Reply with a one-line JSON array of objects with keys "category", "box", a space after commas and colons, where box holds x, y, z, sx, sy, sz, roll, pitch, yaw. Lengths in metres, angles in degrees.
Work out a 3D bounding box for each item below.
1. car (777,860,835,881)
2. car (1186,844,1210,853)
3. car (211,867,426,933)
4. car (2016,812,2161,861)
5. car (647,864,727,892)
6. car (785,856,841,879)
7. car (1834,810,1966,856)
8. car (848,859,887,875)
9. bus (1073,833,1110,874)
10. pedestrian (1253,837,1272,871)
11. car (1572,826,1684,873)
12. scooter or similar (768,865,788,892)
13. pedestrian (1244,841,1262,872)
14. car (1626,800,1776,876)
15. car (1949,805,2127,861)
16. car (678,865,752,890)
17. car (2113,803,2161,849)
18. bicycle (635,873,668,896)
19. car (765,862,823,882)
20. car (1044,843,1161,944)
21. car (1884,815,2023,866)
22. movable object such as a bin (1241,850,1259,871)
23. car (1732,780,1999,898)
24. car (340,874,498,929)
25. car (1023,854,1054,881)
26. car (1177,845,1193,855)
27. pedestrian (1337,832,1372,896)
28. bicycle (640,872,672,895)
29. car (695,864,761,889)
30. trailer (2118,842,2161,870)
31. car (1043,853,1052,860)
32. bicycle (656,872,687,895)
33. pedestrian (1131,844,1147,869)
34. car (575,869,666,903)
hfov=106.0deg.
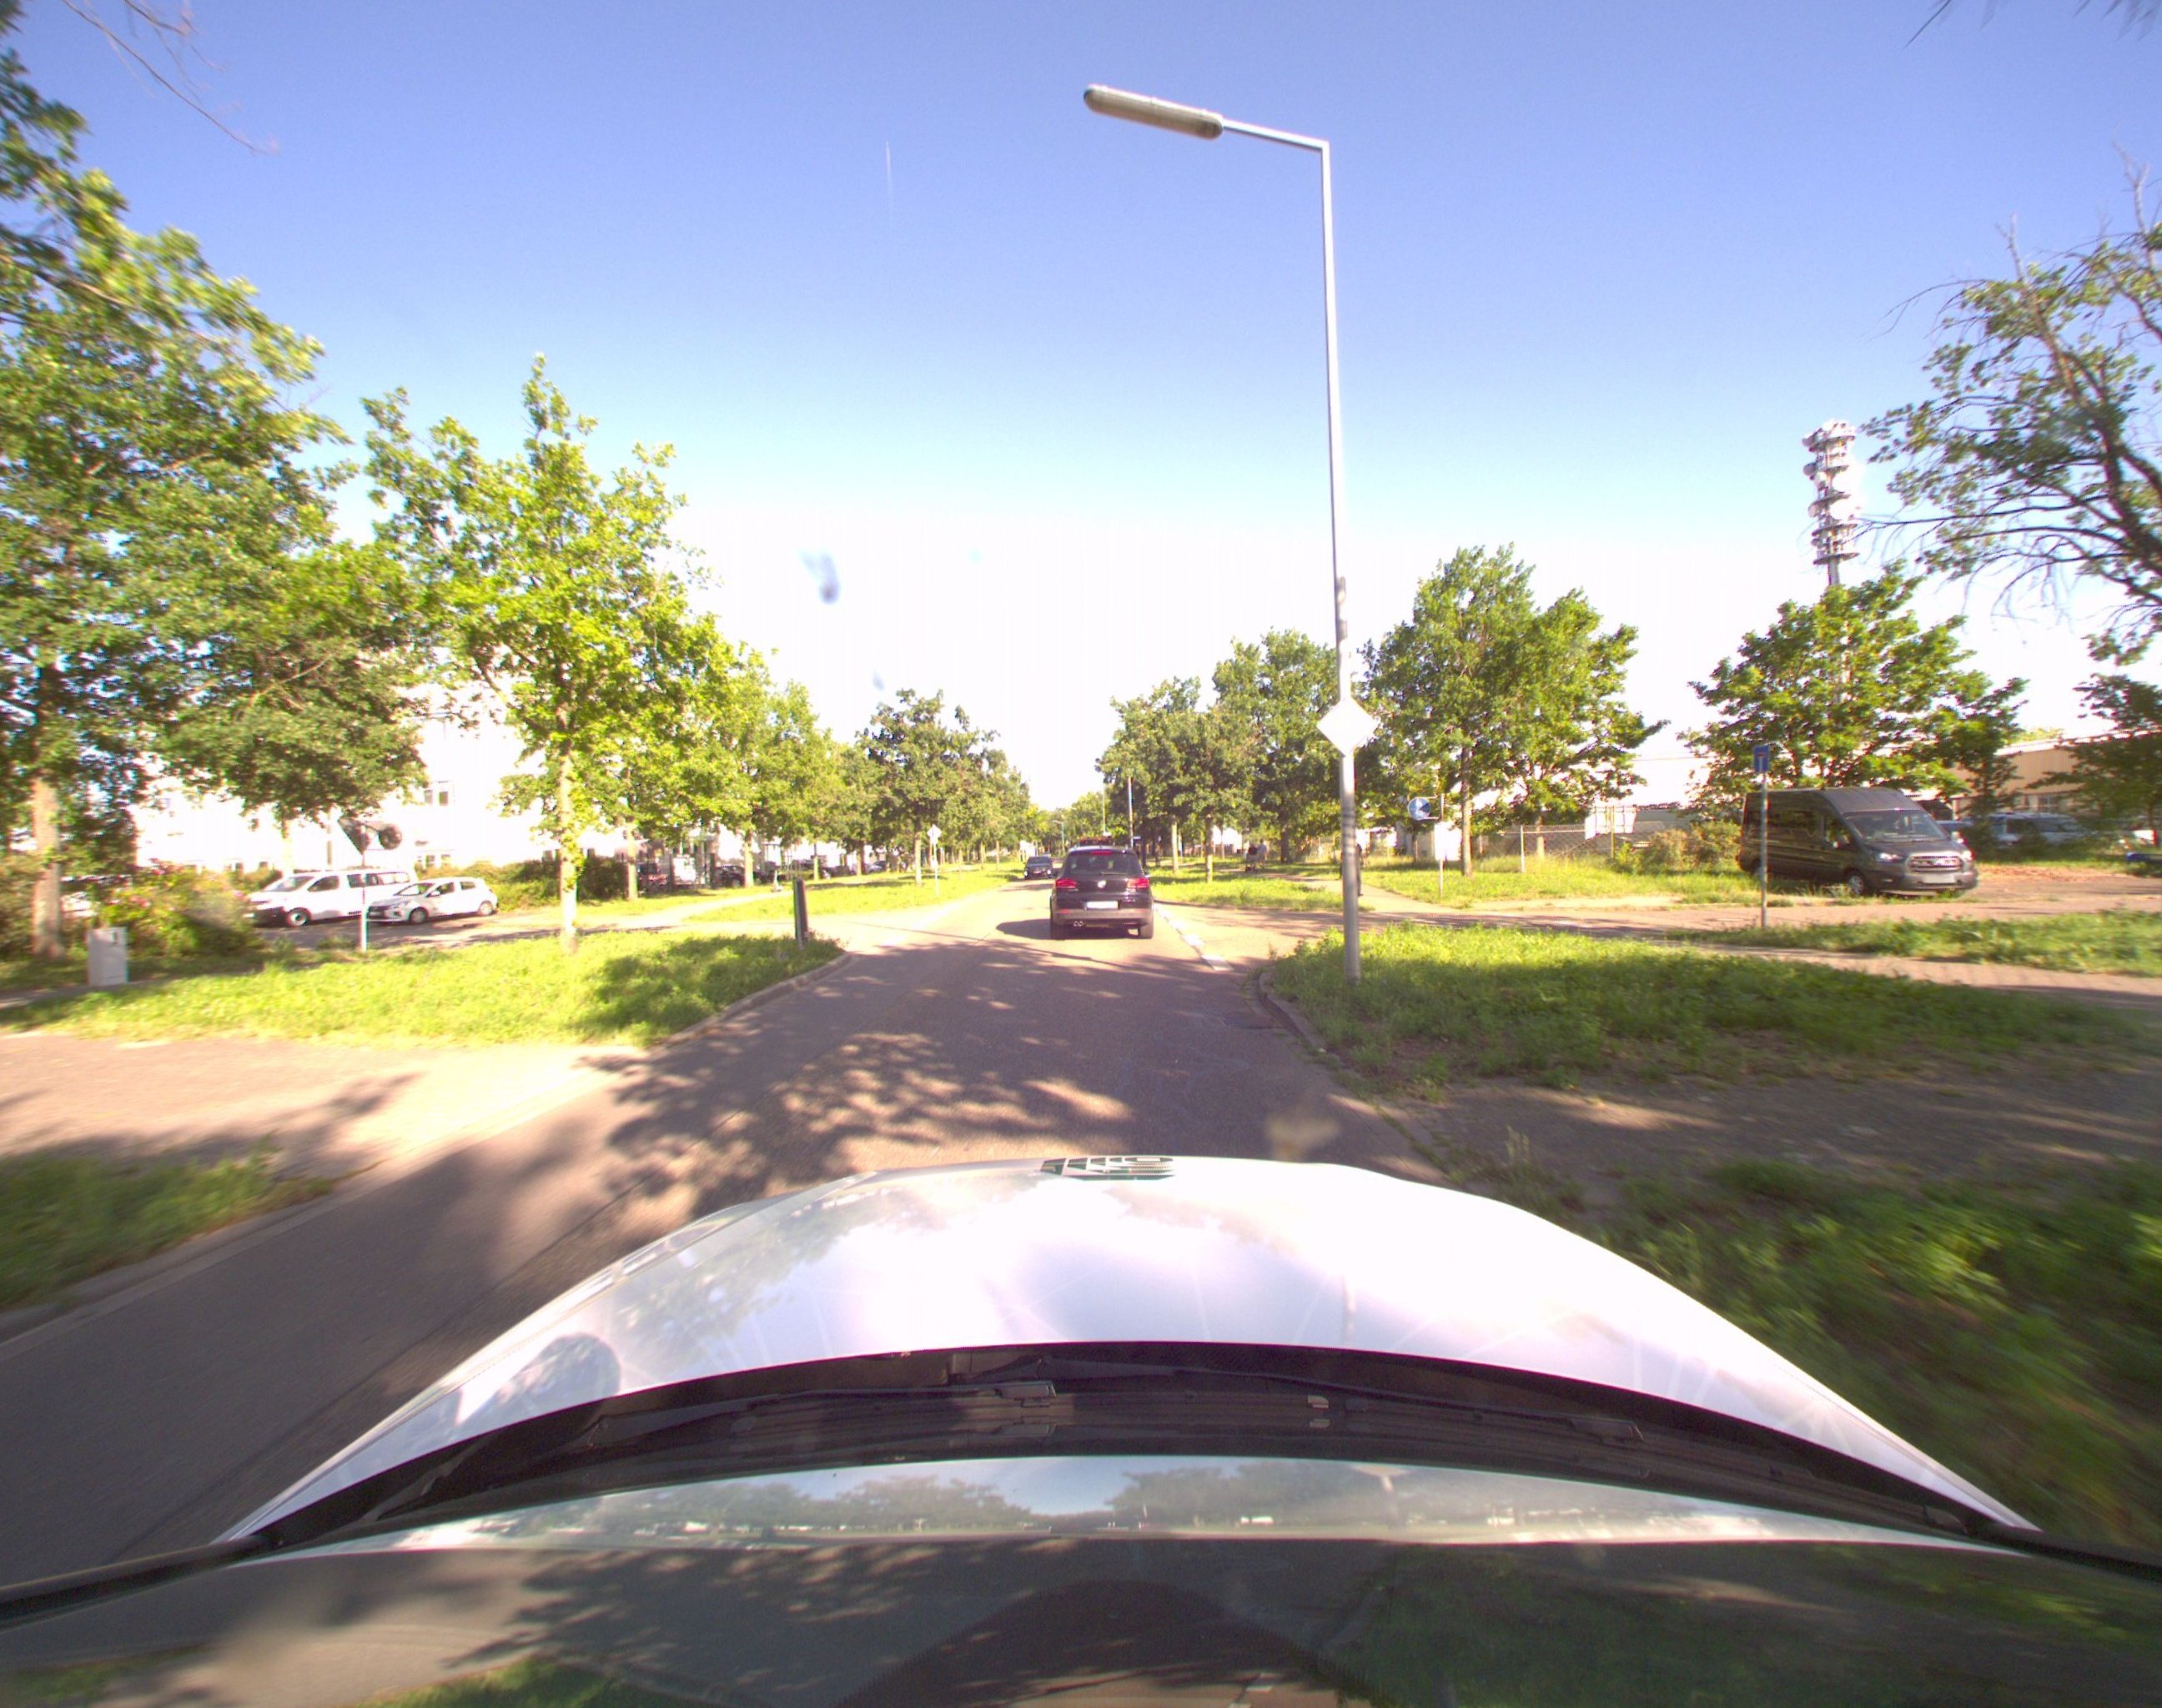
[{"category": "car", "box": [-23.291, 1.386, 69.011, 4.193, 1.538, 1.874, -2, 0, -42]}, {"category": "car", "box": [24.686, -1.172, 172.119, 4.624, 1.744, 2.185, -2, 0, -9]}, {"category": "car", "box": [-28.308, 1.633, 30.579, 2.285, 1.816, 5.461, -2, 2, 12]}, {"category": "car", "box": [36.473, -0.616, 29.008, 1.982, 1.592, 4.009, -2, 0, 8]}, {"category": "car", "box": [-24.115, 1.449, 49.937, 1.778, 1.448, 4.025, -2, 0, 43]}, {"category": "car", "box": [-26.429, 1.336, 80.428, 4.885, 2.013, 1.976, -2, 0, -42]}, {"category": "car", "box": [39.156, -1.069, 39.158, 2.070, 2.061, 5.032, 0, 3, 12]}, {"category": "car", "box": [-23.997, 1.470, 91.601, 3.715, 1.618, 1.971, -2, 0, 15]}, {"category": "bus", "box": [0.852, -0.111, 76.188, 2.758, 3.456, 11.199, -2, 0, -3]}, {"category": "pedestrian", "box": [9.849, -0.002, 44.166, 0.723, 1.755, 0.867, -4, 0, 0]}, {"category": "car", "box": [21.451, -0.187, 32.112, 1.999, 1.664, 3.597, -2, 0, 1]}, {"category": "scooter or similar", "box": [-15.044, 1.196, 40.430, 0.393, 1.279, 1.441, -2, 0, 1]}, {"category": "pedestrian", "box": [9.161, 0.131, 43.287, 0.723, 1.603, 0.867, -2, 0, 0]}, {"category": "car", "box": [24.024, -0.594, 31.842, 2.153, 2.643, 4.851, -2, 0, 1]}, {"category": "car", "box": [34.239, -0.718, 29.331, 1.982, 1.823, 4.009, -2, 0, 8]}, {"category": "car", "box": [-24.056, 1.545, 53.581, 4.022, 1.448, 1.779, -2, 0, -43]}, {"category": "car", "box": [38.644, -1.020, 27.815, 1.982, 1.592, 4.009, -2, 0, 8]}, {"category": "bicycle", "box": [-21.702, 1.530, 41.166, 0.637, 1.087, 1.891, -2, 0, 0]}, {"category": "car", "box": [-23.155, 1.430, 65.806, 3.975, 1.401, 1.976, -2, 0, -42]}, {"category": "car", "box": [0.366, 0.630, 15.726, 1.930, 1.656, 4.427, -1, 0, 0]}, {"category": "car", "box": [31.300, -0.470, 29.382, 1.819, 1.640, 4.021, -2, 0, 21]}, {"category": "movable object such as a bin", "box": [9.151, 0.344, 44.162, 0.723, 1.081, 0.867, -4, 0, 0]}, {"category": "car", "box": [19.619, -0.478, 20.910, 2.070, 2.565, 5.994, 0, 3, 12]}, {"category": "car", "box": [-23.486, 1.651, 29.103, 1.980, 1.504, 3.931, -2, 2, 12]}, {"category": "car", "box": [-2.731, 0.848, 53.561, 1.799, 1.536, 4.493, -3, 0, -1]}, {"category": "car", "box": [20.219, -0.815, 158.402, 2.181, 1.744, 4.634, -2, 0, -5]}, {"category": "pedestrian", "box": [8.007, 0.278, 23.867, 0.723, 1.812, 0.867, -2, 2, 0]}, {"category": "bicycle", "box": [-22.372, 1.553, 42.875, 0.637, 1.087, 1.891, -2, 0, 0]}, {"category": "car", "box": [-24.499, 1.555, 56.510, 4.011, 1.511, 1.784, -2, 1, -29]}, {"category": "trailer", "box": [29.221, 0.115, 19.926, 2.213, 0.651, 4.840, -2, 2, 13]}, {"category": "car", "box": [-6.793, 0.486, 165.430, 1.739, 1.465, 4.425, -3, 0, -1]}, {"category": "bicycle", "box": [-21.382, 1.523, 42.575, 0.637, 1.087, 1.891, -2, 0, 0]}, {"category": "pedestrian", "box": [4.044, 0.164, 57.139, 1.016, 1.651, 1.099, -2, 0, 0]}, {"category": "car", "box": [-25.521, 1.742, 45.190, 3.991, 1.783, 2.032, 0, 0, 11]}]
